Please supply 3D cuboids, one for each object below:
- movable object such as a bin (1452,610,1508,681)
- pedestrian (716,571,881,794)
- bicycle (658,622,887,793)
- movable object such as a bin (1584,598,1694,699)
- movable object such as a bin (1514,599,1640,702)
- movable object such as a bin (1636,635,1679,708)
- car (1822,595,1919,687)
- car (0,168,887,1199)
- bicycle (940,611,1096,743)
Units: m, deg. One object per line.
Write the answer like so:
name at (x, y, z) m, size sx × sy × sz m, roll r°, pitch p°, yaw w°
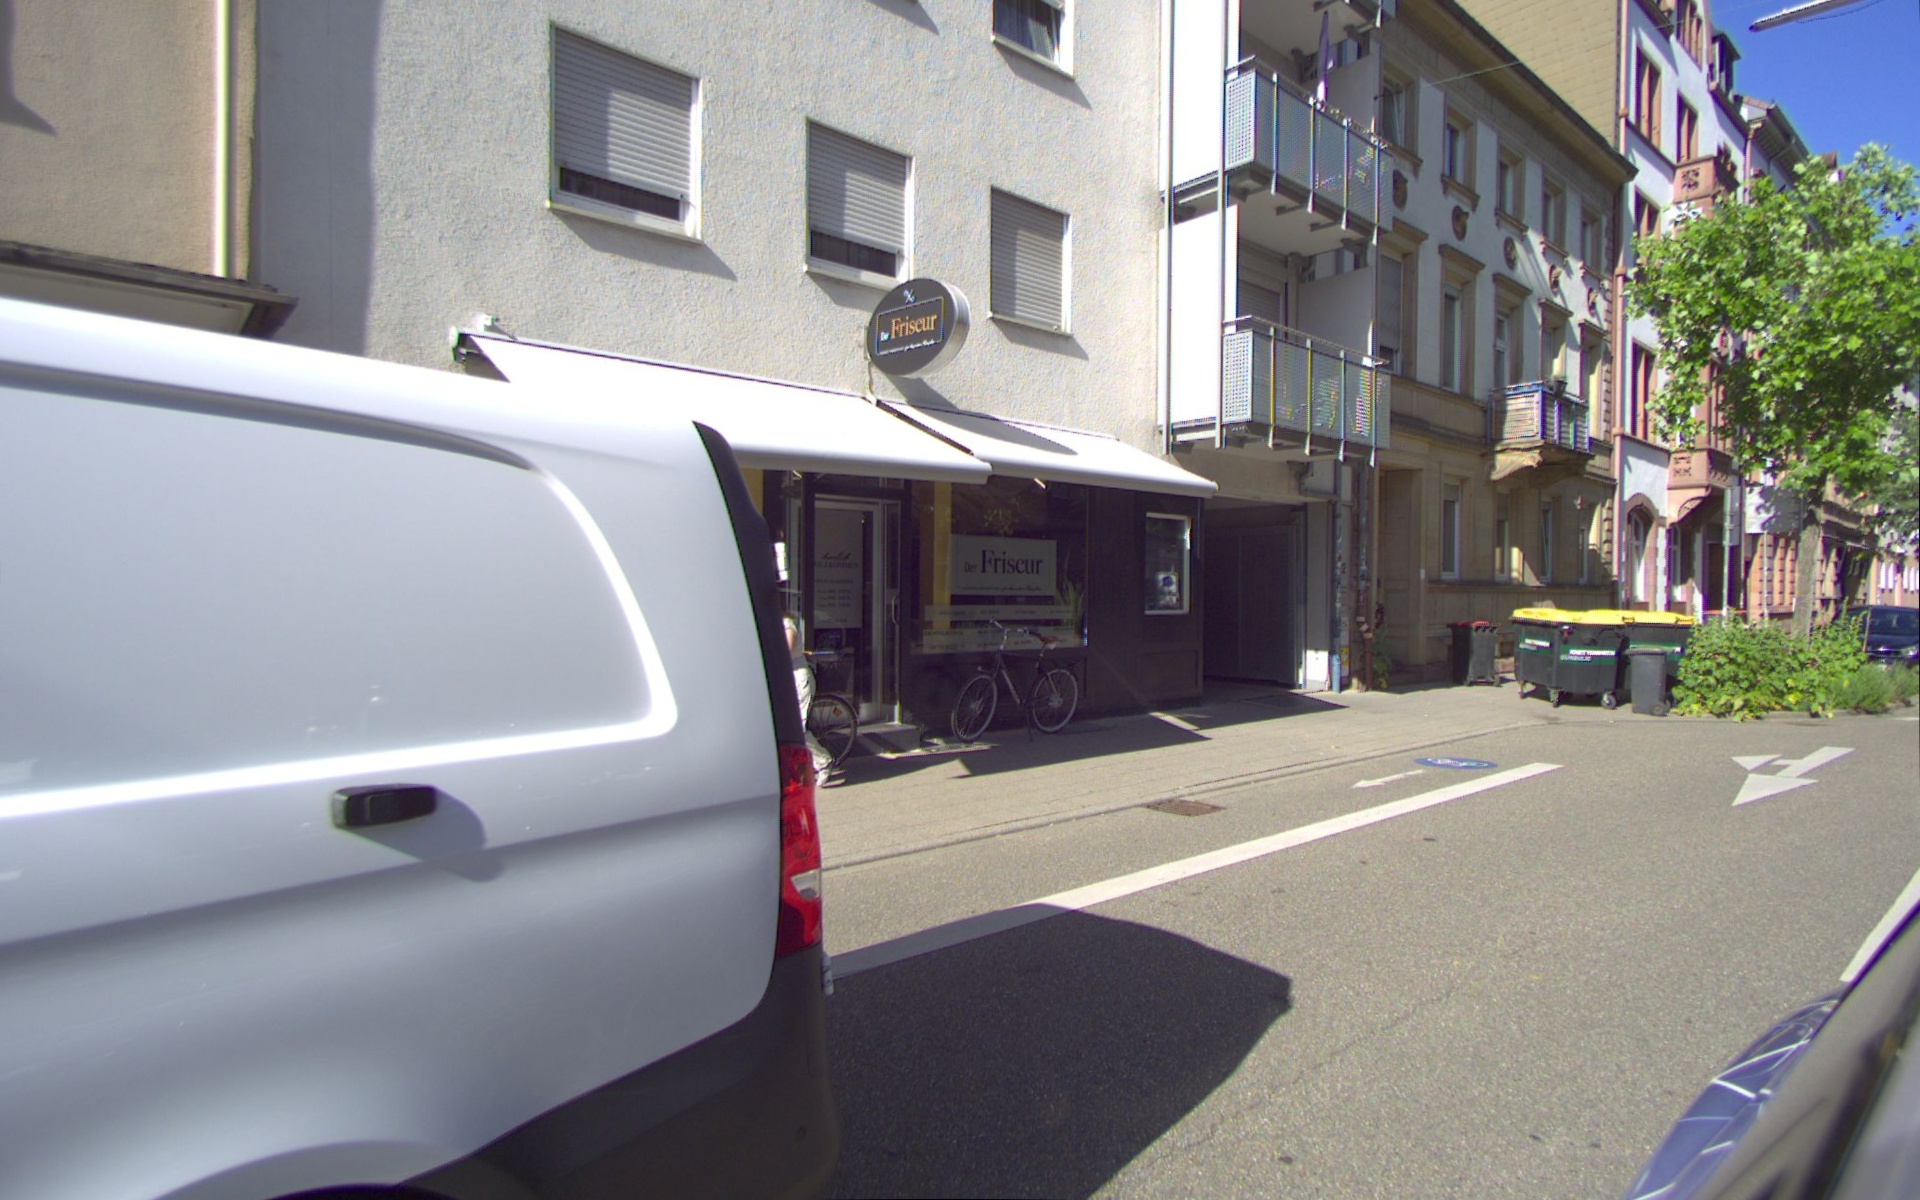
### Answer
movable object such as a bin at (8.540, 0.739, 16.632) m, size 0.557 × 1.094 × 0.617 m, roll 1°, pitch 3°, yaw 1°
pedestrian at (-1.257, 0.581, 7.853) m, size 0.930 × 1.556 × 0.825 m, roll 0°, pitch 4°, yaw -41°
bicycle at (-1.414, 0.780, 7.874) m, size 1.760 × 1.146 × 0.402 m, roll 0°, pitch 4°, yaw -41°
movable object such as a bin at (9.966, 0.684, 14.909) m, size 0.943 × 1.364 × 1.066 m, roll 1°, pitch 3°, yaw 11°
movable object such as a bin at (8.850, 0.699, 14.586) m, size 1.030 × 1.341 × 1.216 m, roll 1°, pitch 3°, yaw 1°
movable object such as a bin at (9.579, 0.970, 13.895) m, size 0.399 × 0.933 × 0.478 m, roll 3°, pitch 3°, yaw 41°
car at (16.845, 0.672, 18.223) m, size 3.293 × 1.510 × 1.550 m, roll 0°, pitch 1°, yaw -41°
car at (-2.531, 0.489, 0.854) m, size 4.914 × 1.892 × 1.838 m, roll 0°, pitch 1°, yaw -44°
bicycle at (0.611, 0.719, 10.112) m, size 1.760 × 1.193 × 0.402 m, roll 0°, pitch 0°, yaw -41°
